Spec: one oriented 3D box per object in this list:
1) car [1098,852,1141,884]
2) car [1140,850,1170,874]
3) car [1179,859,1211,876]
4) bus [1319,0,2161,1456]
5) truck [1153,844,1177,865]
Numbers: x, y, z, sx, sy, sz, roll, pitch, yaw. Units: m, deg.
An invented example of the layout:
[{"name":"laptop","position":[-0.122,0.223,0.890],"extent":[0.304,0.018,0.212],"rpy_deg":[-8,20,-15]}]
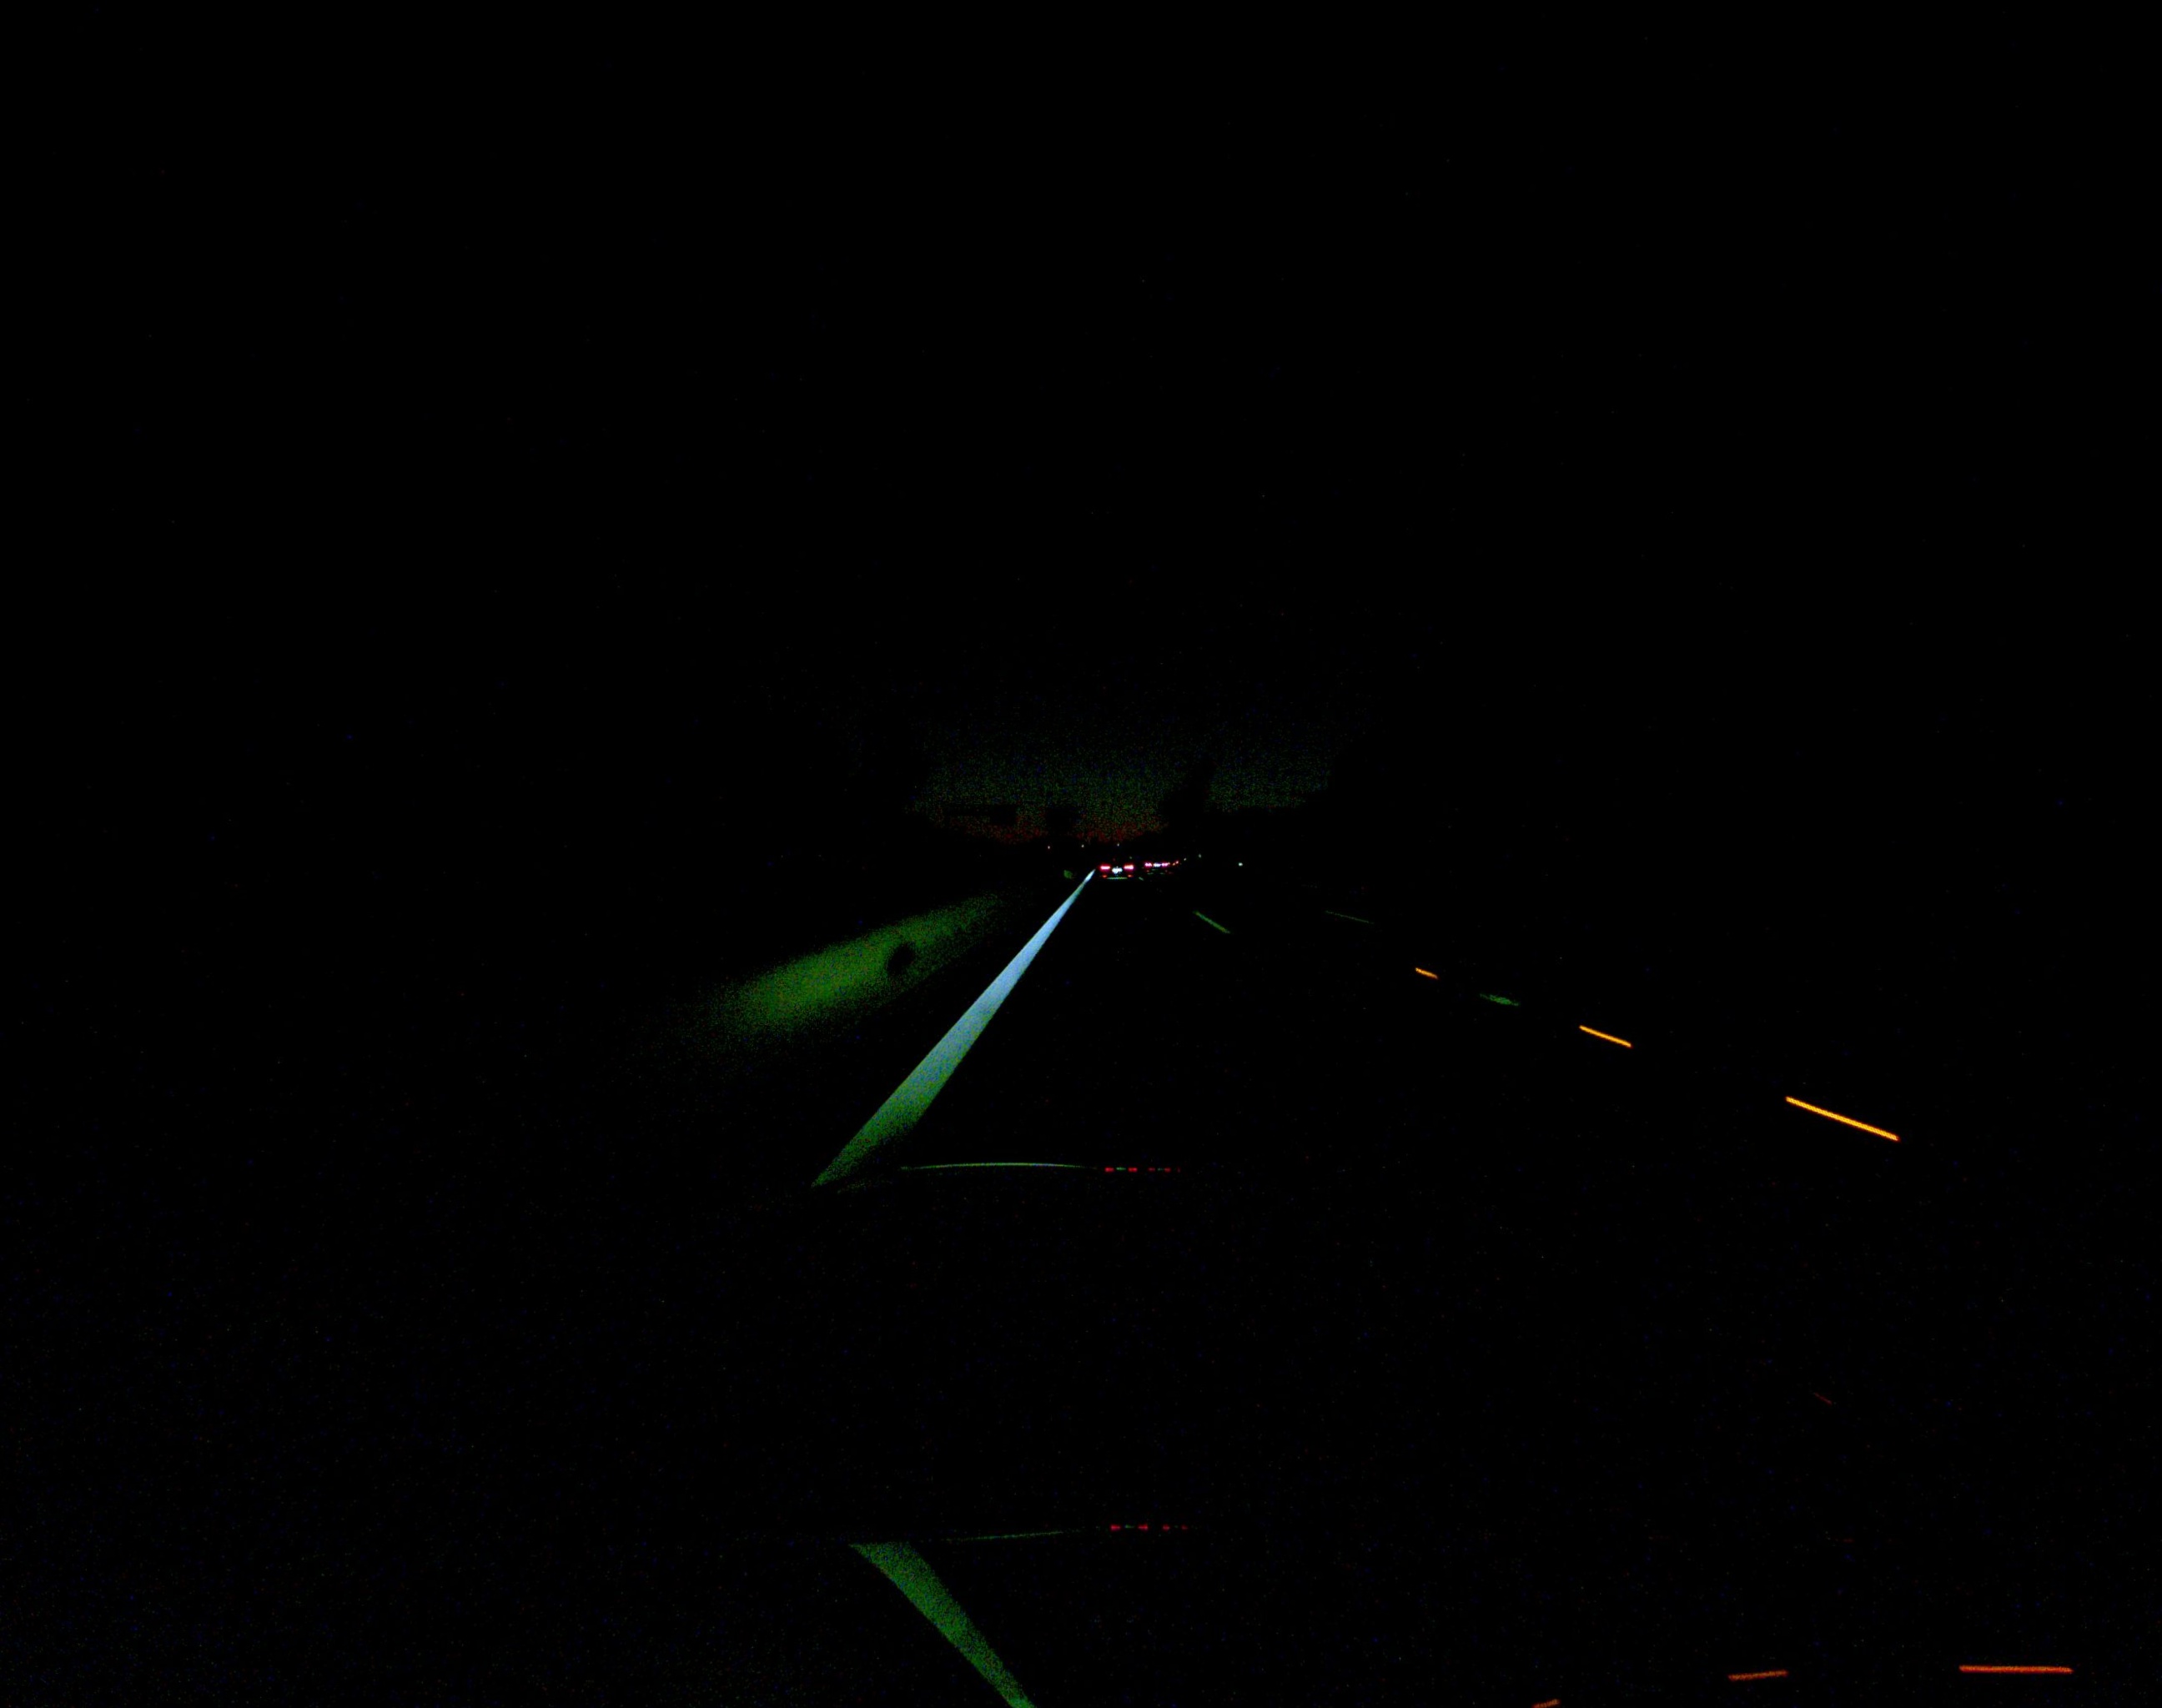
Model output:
[{"name":"car","position":[2.003,0.737,43.207],"extent":[2.099,1.618,4.204],"rpy_deg":[1,-1,0]},{"name":"car","position":[5.659,0.611,62.639],"extent":[1.905,1.730,3.999],"rpy_deg":[0,-1,0]},{"name":"car","position":[8.796,1.031,62.876],"extent":[1.905,1.275,3.999],"rpy_deg":[0,-1,0]},{"name":"bus","position":[3.802,-0.613,1.778],"extent":[2.642,3.994,14.705],"rpy_deg":[0,0,1]},{"name":"truck","position":[11.357,0.078,110.852],"extent":[2.594,2.875,7.486],"rpy_deg":[0,0,1]}]
